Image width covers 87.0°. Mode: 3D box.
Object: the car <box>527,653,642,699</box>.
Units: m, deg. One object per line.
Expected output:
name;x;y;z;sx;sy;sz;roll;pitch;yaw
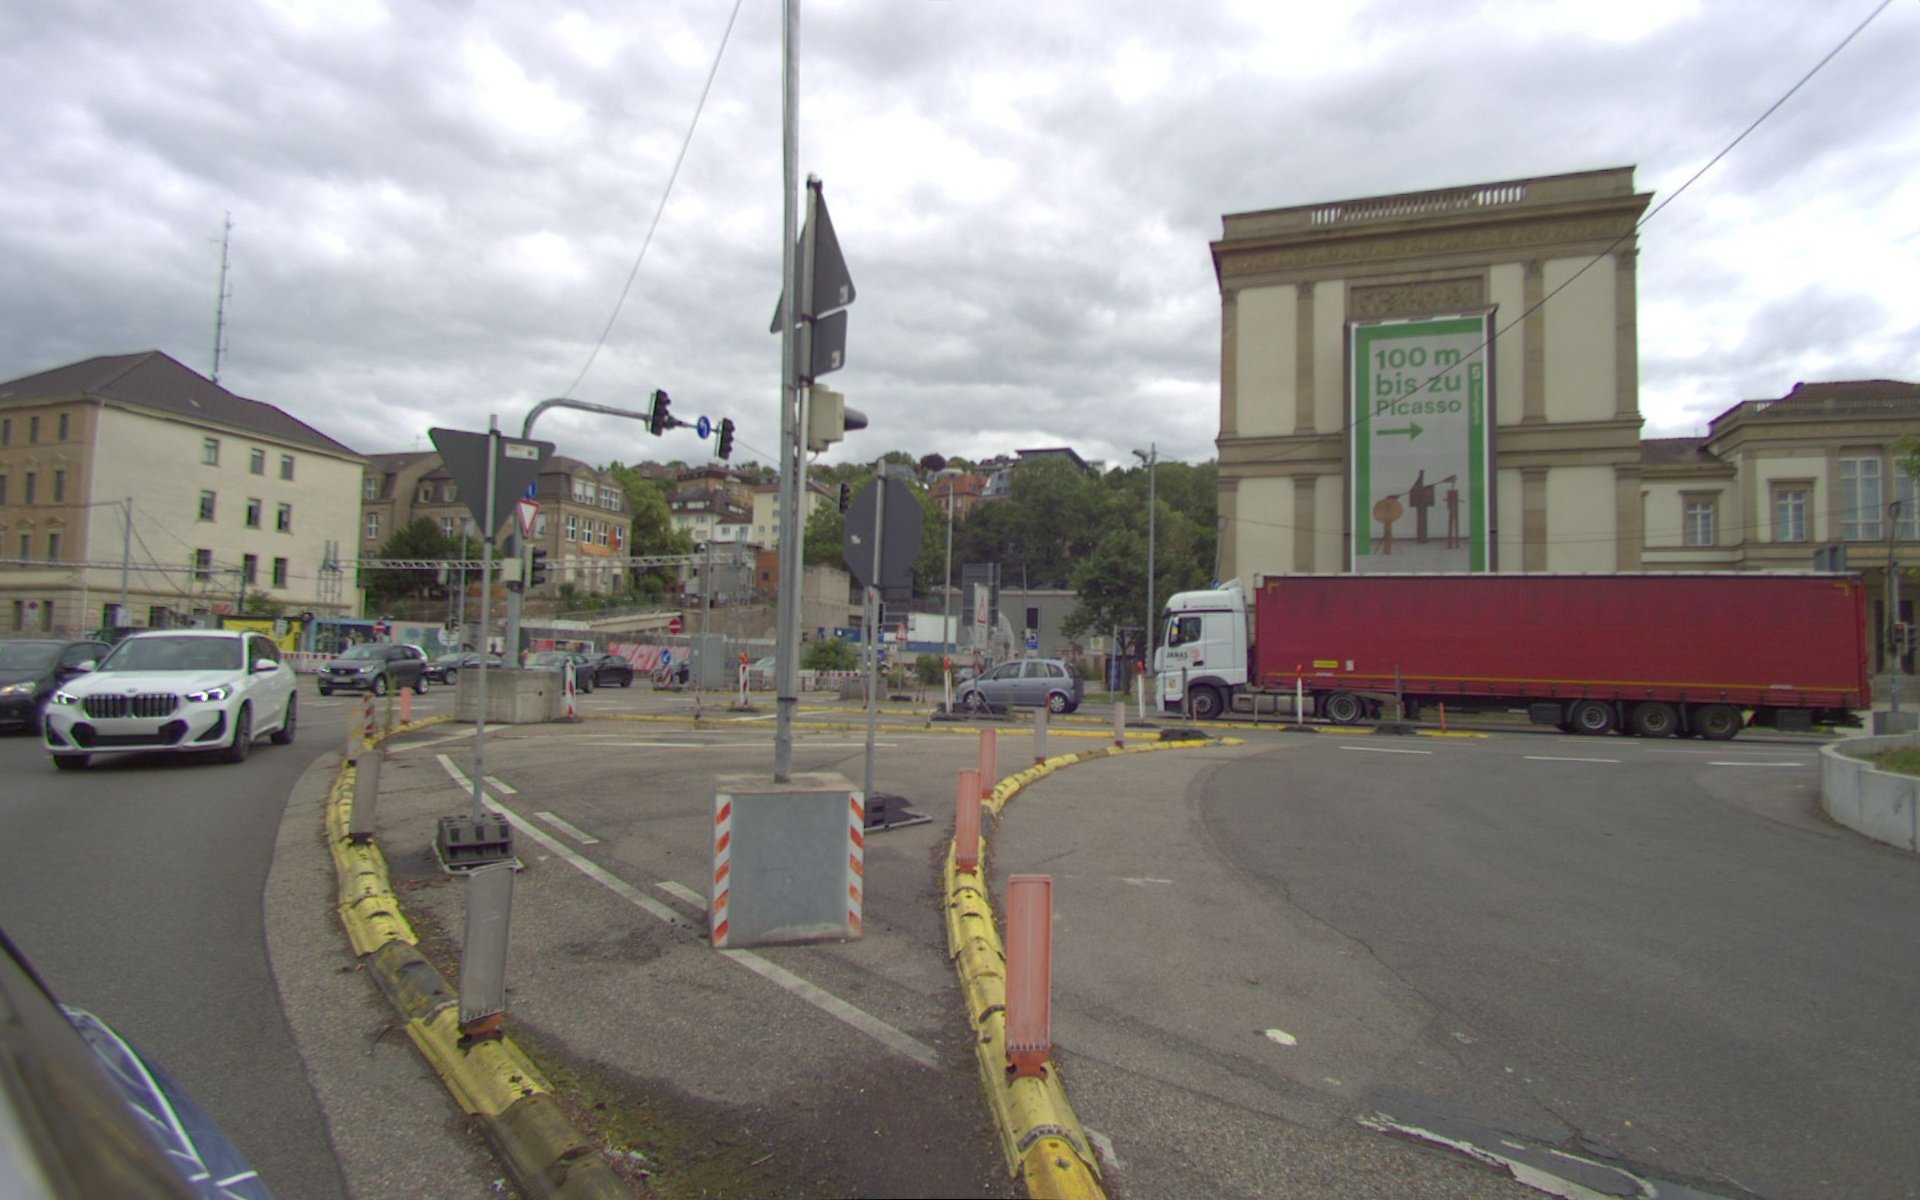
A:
car;-13.843;2.830;37.558;1.982;1.564;3.978;0;-4;16

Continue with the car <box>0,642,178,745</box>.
car;-14.954;1.482;16.678;1.705;1.481;4.431;3;-5;-17

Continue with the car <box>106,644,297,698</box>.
car;-24.459;2.350;32.882;1.895;1.591;4.656;0;-5;17

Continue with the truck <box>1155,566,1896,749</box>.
truck;13.686;1.433;26.937;16.483;4.114;2.908;0;-5;19

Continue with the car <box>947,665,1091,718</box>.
car;1.830;2.761;30.962;4.098;1.516;1.760;-1;-4;19

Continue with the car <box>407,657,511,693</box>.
car;-21.206;3.199;42.978;1.717;1.400;3.674;0;-5;23

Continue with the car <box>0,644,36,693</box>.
car;-29.275;1.933;28.782;1.679;1.427;4.060;-1;-4;19

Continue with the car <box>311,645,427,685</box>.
car;-24.574;2.758;42.255;1.678;1.586;4.047;-1;-5;18

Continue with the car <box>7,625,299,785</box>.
car;-9.550;1.243;12.356;1.782;1.617;3.724;3;-5;-23

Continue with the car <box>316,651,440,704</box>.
car;-17.257;2.325;30.181;1.556;1.430;3.570;2;-5;0

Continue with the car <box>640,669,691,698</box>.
car;-16.563;4.640;56.817;1.844;1.431;4.118;2;-3;-28
